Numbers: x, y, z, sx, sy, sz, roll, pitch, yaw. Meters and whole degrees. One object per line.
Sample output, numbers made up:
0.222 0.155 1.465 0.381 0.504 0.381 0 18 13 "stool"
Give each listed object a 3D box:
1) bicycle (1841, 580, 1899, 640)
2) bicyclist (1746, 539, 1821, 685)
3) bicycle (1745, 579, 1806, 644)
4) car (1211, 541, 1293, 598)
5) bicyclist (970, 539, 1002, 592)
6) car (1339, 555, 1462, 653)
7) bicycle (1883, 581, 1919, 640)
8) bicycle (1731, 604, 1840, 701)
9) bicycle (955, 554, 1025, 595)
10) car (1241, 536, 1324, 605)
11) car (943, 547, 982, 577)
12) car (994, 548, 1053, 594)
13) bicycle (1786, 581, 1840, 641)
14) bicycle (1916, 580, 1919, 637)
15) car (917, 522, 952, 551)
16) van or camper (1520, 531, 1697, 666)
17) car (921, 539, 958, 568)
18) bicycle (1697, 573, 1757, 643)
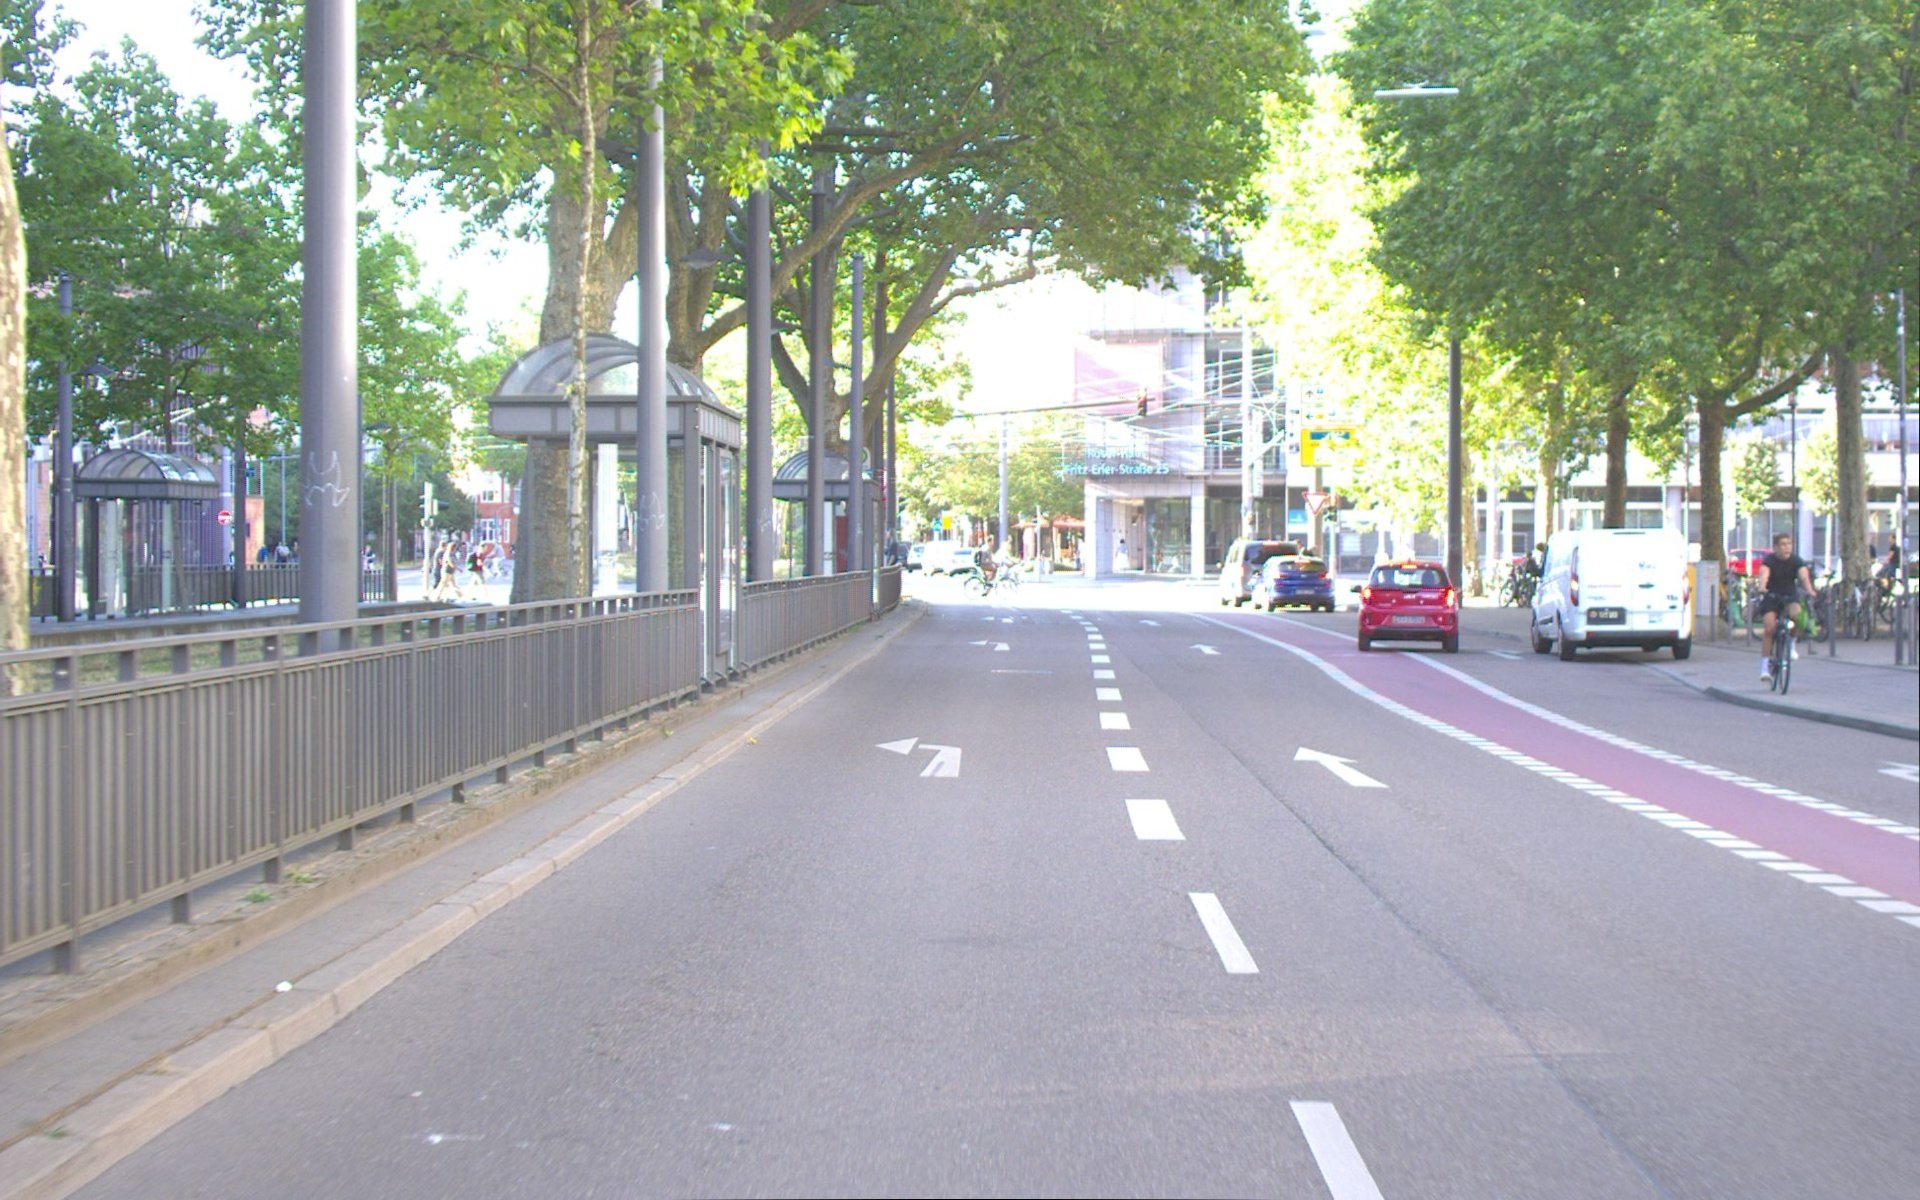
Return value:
15.553 0.163 58.790 0.503 0.978 1.768 -1 1 0 "bicycle"
9.726 0.133 40.637 0.649 1.696 0.952 0 1 0 "bicyclist"
13.939 0.185 58.796 0.586 1.063 1.900 -1 1 0 "bicycle"
8.233 -0.874 97.177 1.777 1.529 3.513 1 1 -4 "car"
0.797 -1.043 104.206 0.836 1.586 0.840 1 1 -8 "bicyclist"
7.206 0.040 56.432 1.613 1.529 3.412 1 1 1 "car"
16.280 0.168 58.794 0.503 0.978 1.768 -1 1 0 "bicycle"
9.713 0.599 40.523 0.683 1.063 2.469 -1 1 0 "bicycle"
0.895 -0.764 104.255 2.011 1.210 0.840 1 1 -8 "bicycle"
8.495 -0.789 90.802 1.635 1.794 3.330 0 1 -5 "car"
0.107 -1.976 178.745 1.777 1.529 3.412 1 1 -4 "car"
2.208 -1.031 120.158 1.777 1.529 3.513 1 1 -4 "car"
14.580 0.183 58.799 0.467 0.978 1.768 -1 1 0 "bicycle"
16.894 0.153 58.928 0.503 0.978 1.768 -1 1 0 "bicycle"
-1.426 -3.515 191.366 1.777 1.583 3.412 1 1 -4 "car"
10.015 -0.051 53.435 1.993 1.982 4.744 0 1 2 "van or camper"
-1.098 -2.520 185.359 1.777 1.529 3.412 1 1 -4 "car"
13.117 0.129 58.824 0.586 1.157 1.900 -1 1 0 "bicycle"
